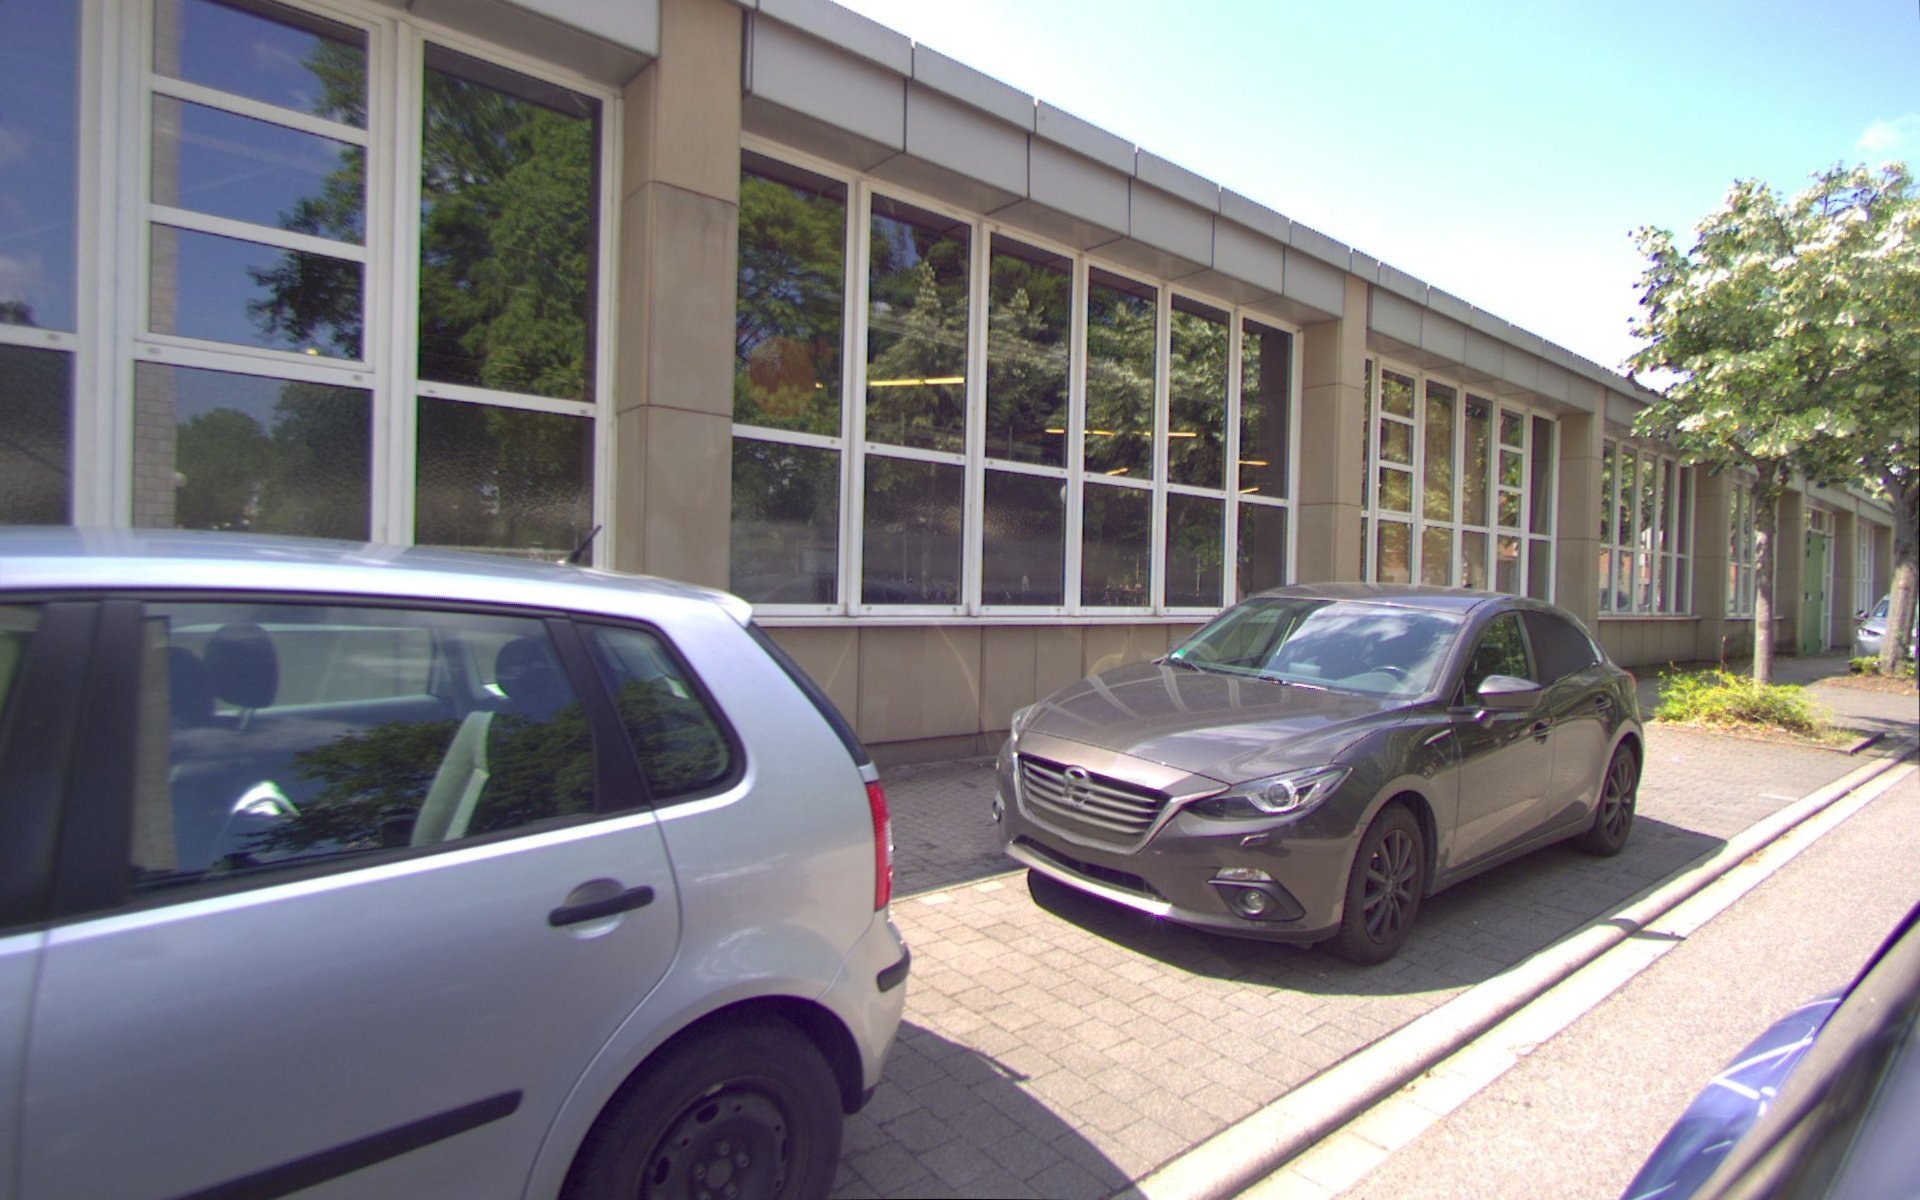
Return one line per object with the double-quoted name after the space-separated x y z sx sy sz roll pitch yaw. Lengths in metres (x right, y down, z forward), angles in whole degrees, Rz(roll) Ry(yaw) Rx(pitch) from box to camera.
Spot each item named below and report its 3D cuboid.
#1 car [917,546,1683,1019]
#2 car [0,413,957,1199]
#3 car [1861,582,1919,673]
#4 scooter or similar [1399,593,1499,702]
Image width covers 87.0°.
2.064 0.564 5.341 4.383 1.494 1.785 1 3 -40 "car"
-1.954 0.523 1.704 3.712 1.558 1.620 0 1 -40 "car"
19.751 0.552 20.416 4.505 1.684 1.826 1 2 -42 "car"
6.065 0.559 12.536 1.459 1.265 0.512 1 2 -40 "scooter or similar"
